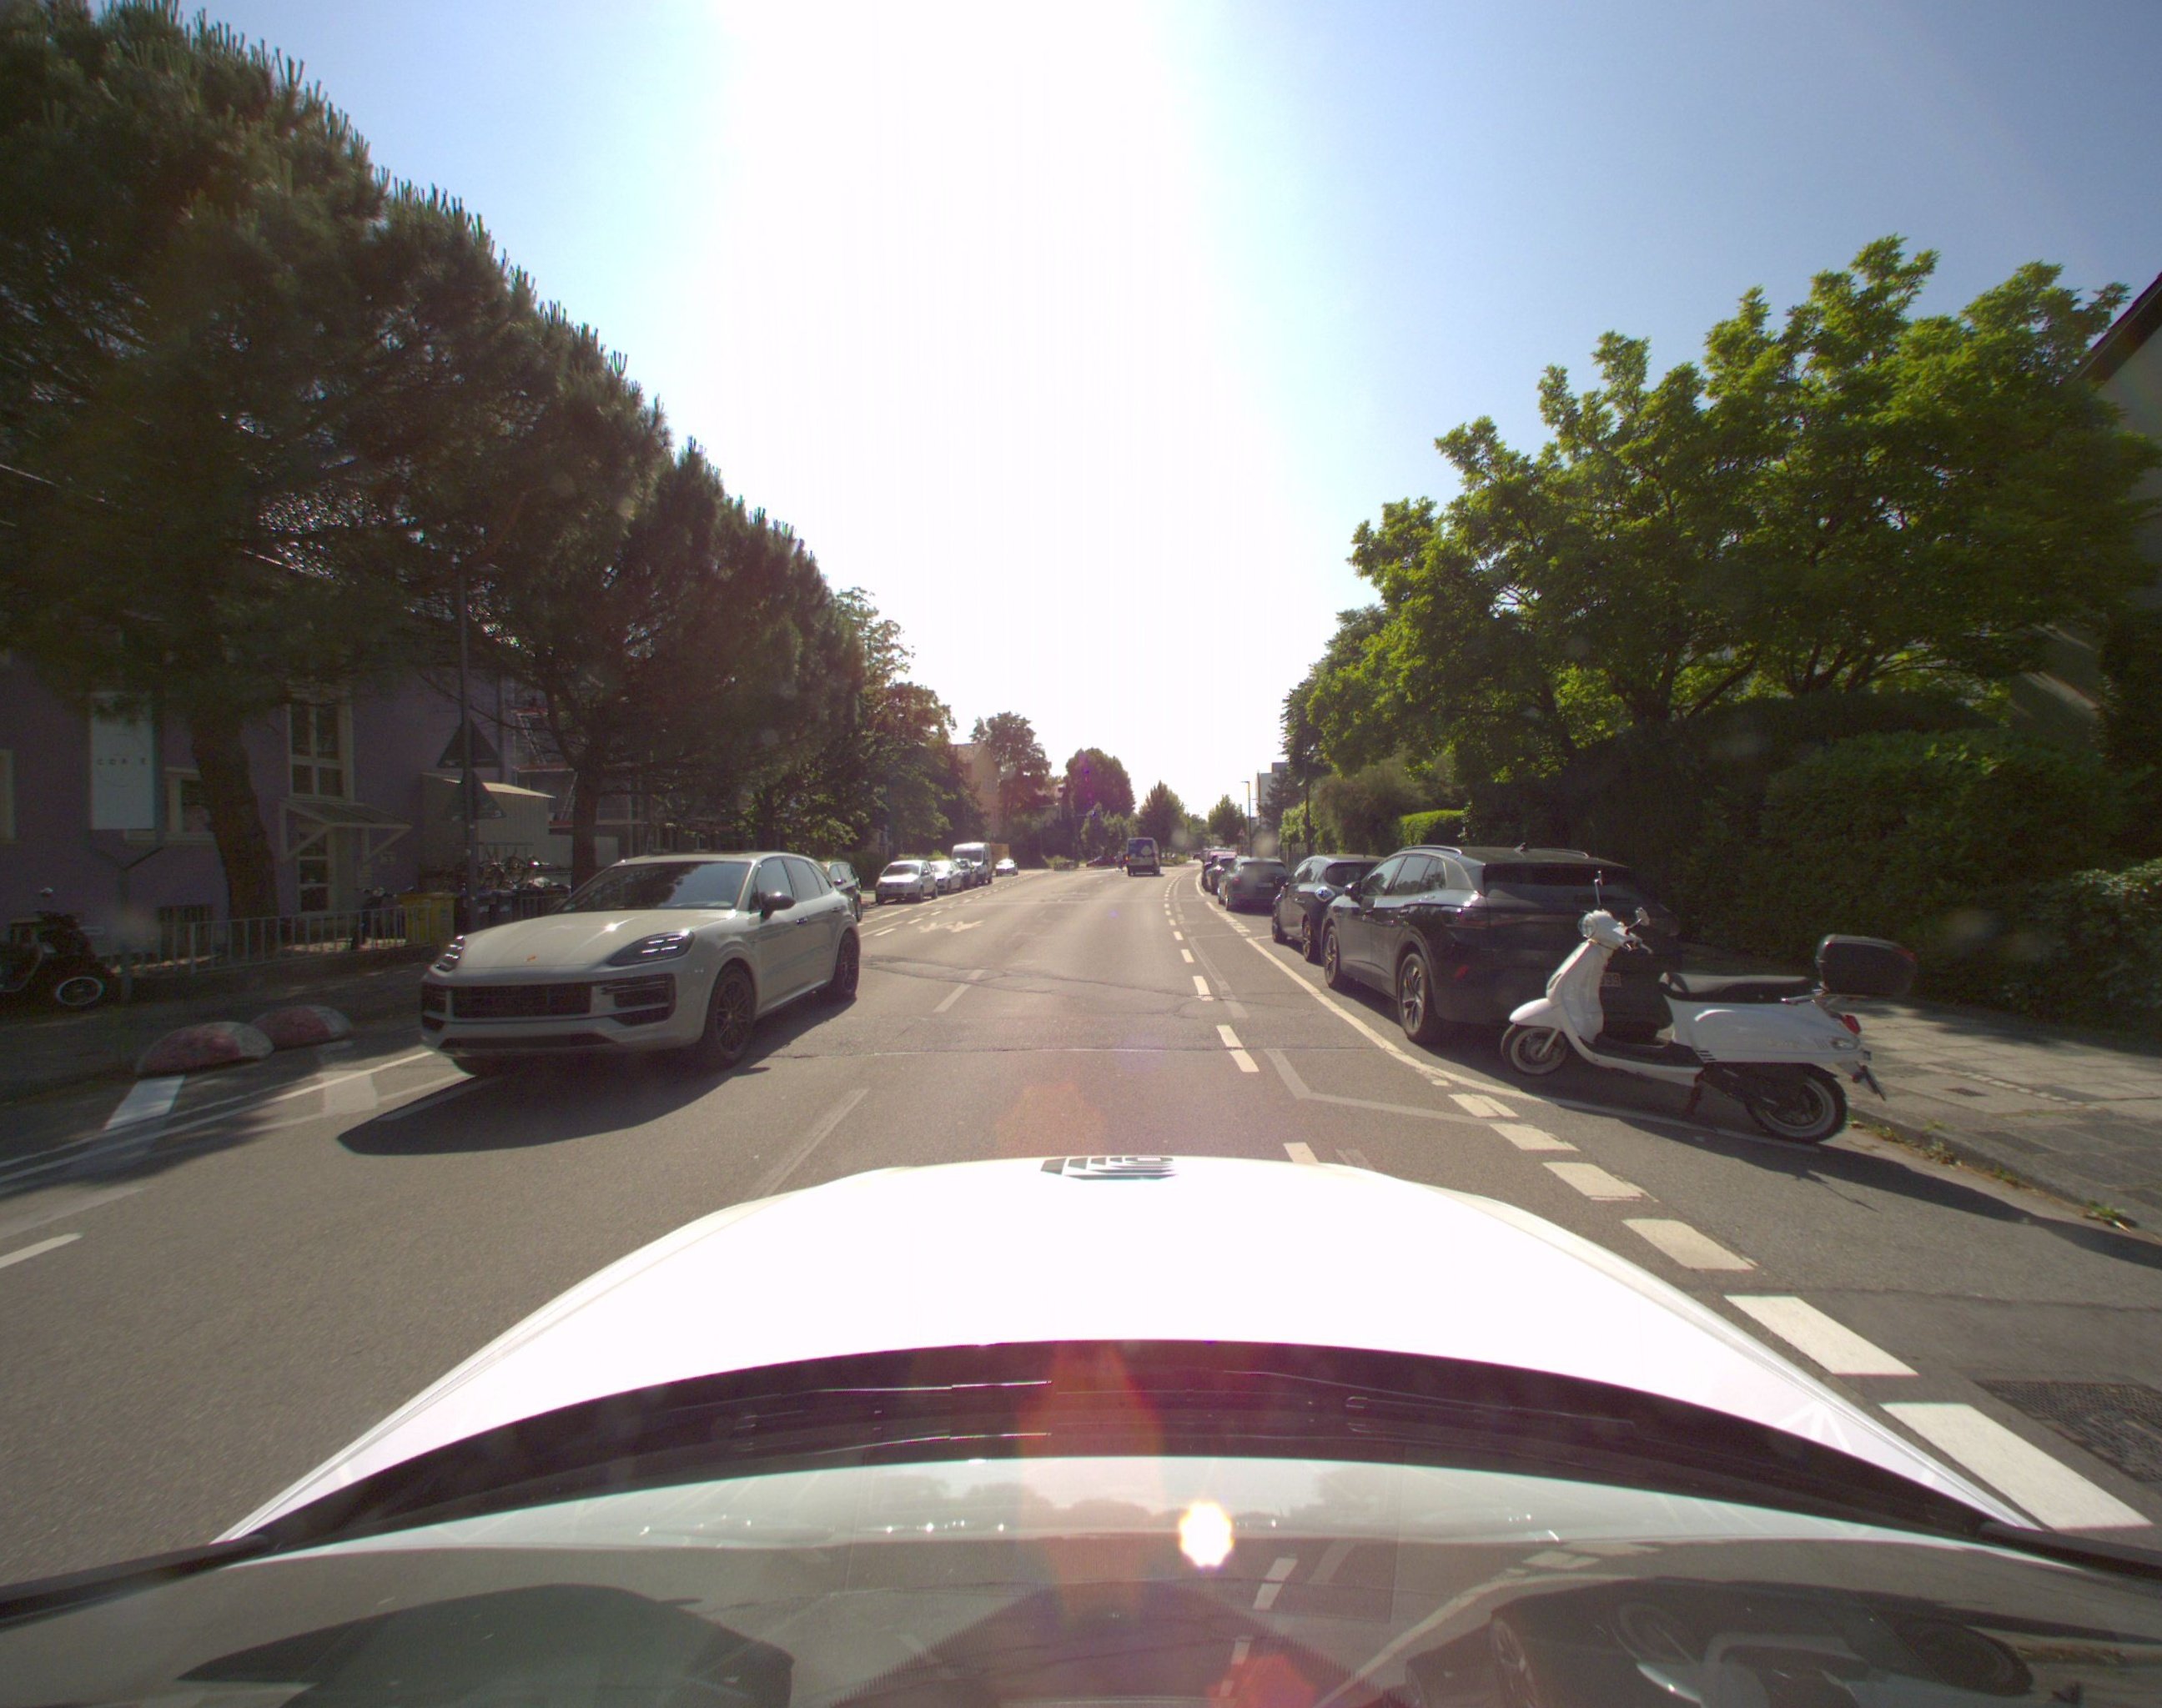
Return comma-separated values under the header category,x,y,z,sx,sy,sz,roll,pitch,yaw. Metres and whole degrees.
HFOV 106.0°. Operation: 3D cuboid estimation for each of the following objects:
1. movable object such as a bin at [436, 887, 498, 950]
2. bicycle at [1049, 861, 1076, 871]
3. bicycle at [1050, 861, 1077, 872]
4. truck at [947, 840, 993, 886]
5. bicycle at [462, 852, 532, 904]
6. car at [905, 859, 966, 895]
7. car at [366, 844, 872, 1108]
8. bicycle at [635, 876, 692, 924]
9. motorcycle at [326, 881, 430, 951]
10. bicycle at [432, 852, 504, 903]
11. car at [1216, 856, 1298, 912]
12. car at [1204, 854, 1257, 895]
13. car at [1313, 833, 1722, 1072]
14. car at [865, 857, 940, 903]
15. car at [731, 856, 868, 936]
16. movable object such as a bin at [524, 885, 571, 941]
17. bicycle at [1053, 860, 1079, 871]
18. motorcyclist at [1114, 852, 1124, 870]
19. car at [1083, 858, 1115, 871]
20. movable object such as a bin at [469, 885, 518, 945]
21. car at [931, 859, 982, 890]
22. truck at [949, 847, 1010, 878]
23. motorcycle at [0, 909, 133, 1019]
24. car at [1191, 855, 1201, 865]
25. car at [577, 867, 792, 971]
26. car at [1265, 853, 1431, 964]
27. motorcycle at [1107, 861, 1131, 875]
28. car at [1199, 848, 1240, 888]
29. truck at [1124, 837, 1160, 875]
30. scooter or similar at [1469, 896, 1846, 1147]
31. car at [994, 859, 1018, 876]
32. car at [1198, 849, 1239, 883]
category,x,y,z,sx,sy,sz,roll,pitch,yaw
movable object such as a bin,-11.273,1.172,14.960,0.602,1.111,0.664,-2,-1,6
bicycle,-1.978,1.255,86.064,2.686,1.047,1.023,-1,-1,-8
bicycle,-1.826,1.321,84.937,2.663,1.026,1.023,-1,-1,-8
truck,-6.475,0.503,48.081,2.075,2.537,5.462,-1,0,-2
bicycle,-14.050,0.563,19.629,0.534,1.182,1.449,-2,-1,6
car,-6.567,0.996,37.046,1.826,1.496,3.658,-1,0,4
car,-3.587,0.792,7.582,1.986,1.657,4.605,-2,0,1
bicycle,-10.859,1.180,21.265,0.371,1.146,1.979,-1,-1,3
motorcycle,-12.851,1.107,14.930,0.534,1.182,1.449,-2,-1,6
bicycle,-14.817,0.550,19.725,0.534,1.182,1.449,-2,0,6
car,4.864,0.778,23.003,1.776,1.399,4.330,1,0,5
car,5.716,0.744,31.469,1.775,1.399,4.131,0,1,7
car,3.663,0.683,7.899,1.777,1.638,4.474,0,0,3
car,-6.711,0.958,30.993,1.828,1.595,3.776,-1,-1,2
car,-6.743,0.926,20.041,1.903,1.677,4.256,-2,0,-2
movable object such as a bin,-11.067,1.214,16.905,0.541,1.111,0.586,-2,-1,6
bicycle,-1.648,1.228,87.223,2.686,1.047,1.023,-1,-1,-8
motorcyclist,3.305,0.614,70.711,0.674,1.518,0.648,-1,-1,-21
car,2.304,1.347,104.978,3.985,1.490,1.624,-1,-1,-9
movable object such as a bin,-11.215,1.160,15.543,0.602,1.111,0.432,-2,-1,6
car,-6.362,1.020,41.887,1.746,1.496,3.658,-2,0,4
truck,-10.203,0.818,82.386,5.633,2.946,2.227,-2,-1,9
motorcycle,-12.325,1.273,9.530,1.830,1.182,0.644,-2,-1,5
car,24.221,1.343,171.296,1.899,2.014,4.006,-2,-1,6
car,-6.781,1.025,14.474,1.775,1.460,4.085,-2,0,0
car,4.152,0.751,13.278,1.701,1.514,3.906,1,0,4
motorcycle,3.291,1.217,70.798,1.060,1.122,2.972,-1,-1,-19
car,6.270,0.609,37.075,1.691,1.677,3.783,-1,0,8
truck,4.349,0.157,57.529,2.260,2.571,4.401,-2,-1,7
scooter or similar,3.467,0.895,5.019,0.724,1.154,1.775,3,-1,-45
car,-6.412,1.163,69.882,1.749,1.343,3.652,-1,0,-1
car,7.108,0.605,42.301,1.693,1.677,3.778,-1,0,3
